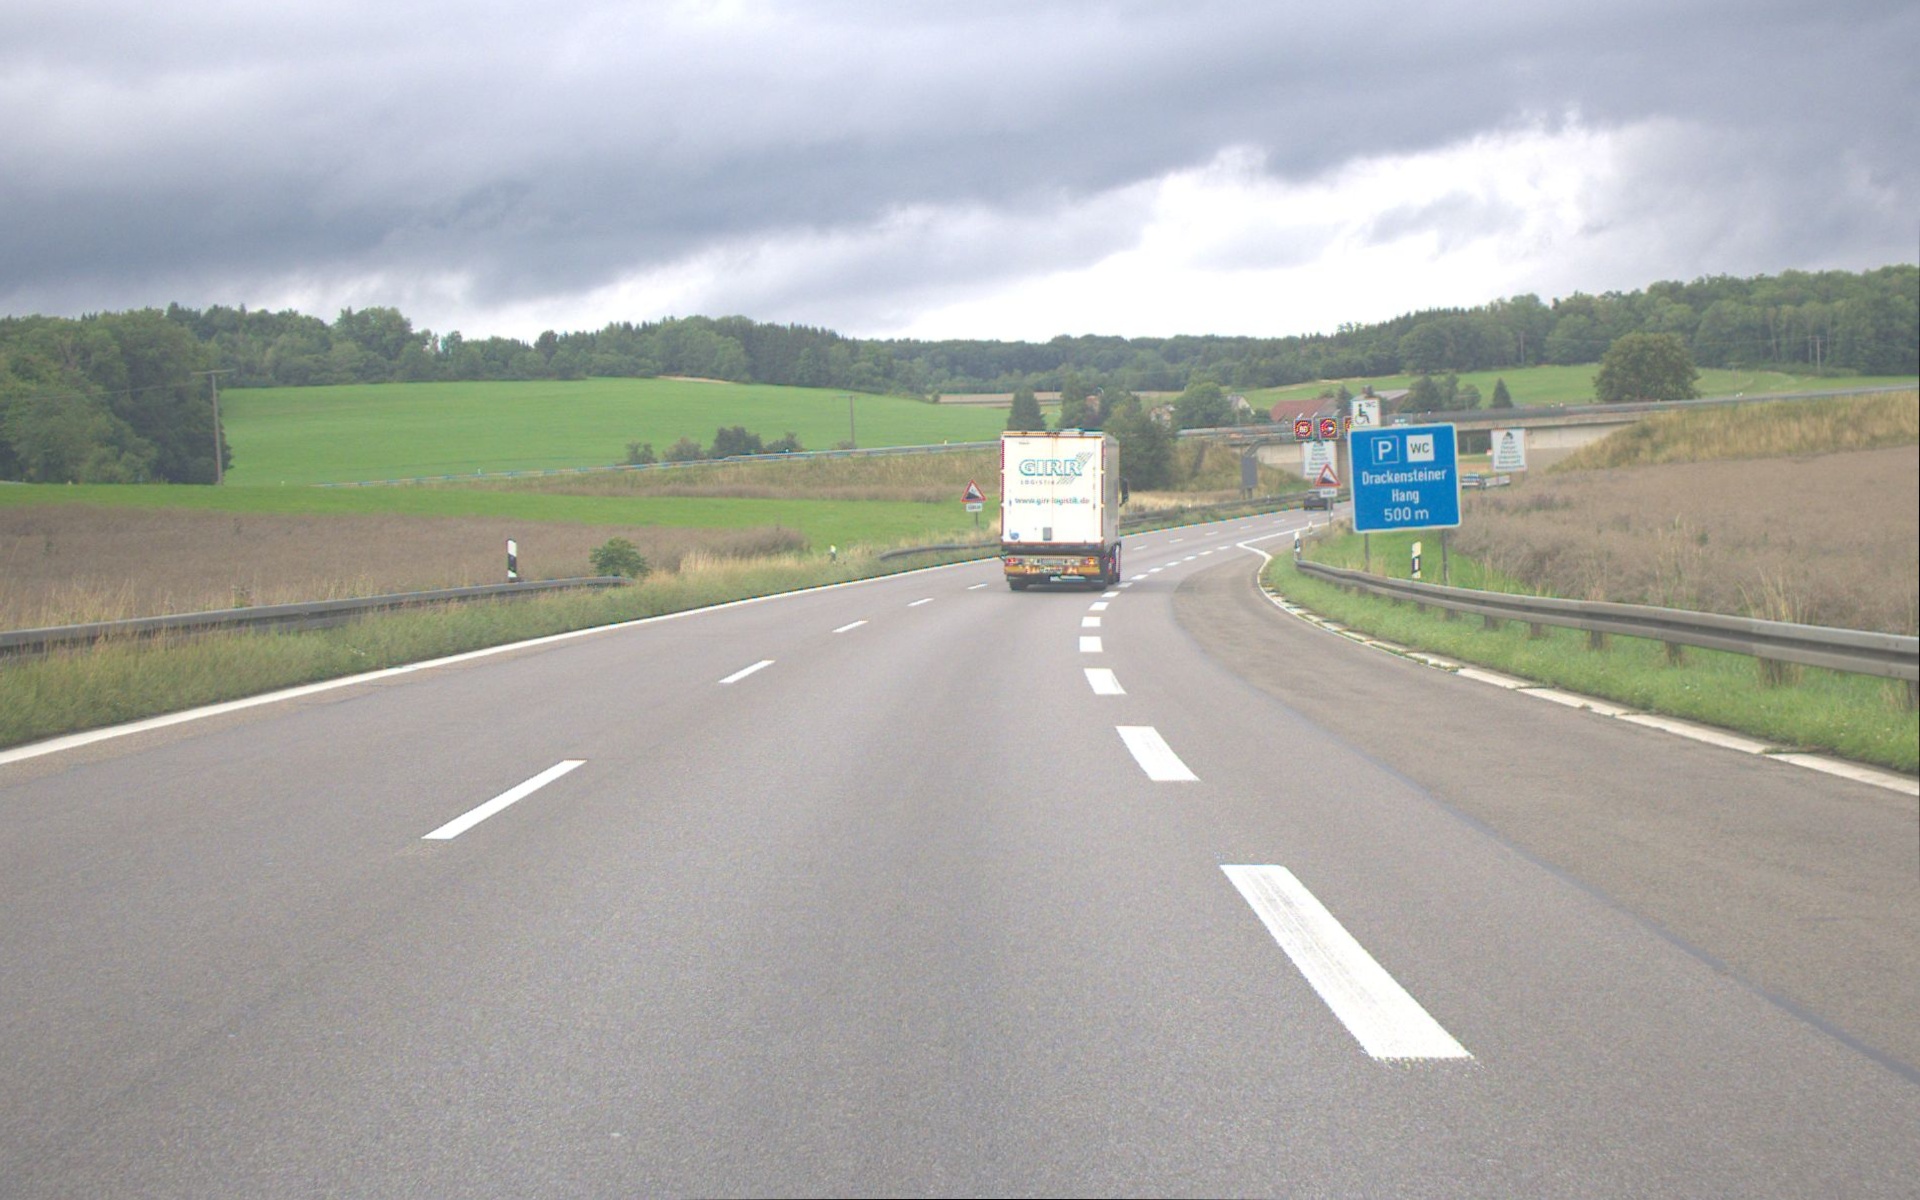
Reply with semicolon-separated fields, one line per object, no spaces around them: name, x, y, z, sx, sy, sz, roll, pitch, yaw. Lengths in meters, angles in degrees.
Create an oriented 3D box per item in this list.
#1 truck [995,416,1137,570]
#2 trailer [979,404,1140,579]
truck;3.023;-2.984;97.835;3.788;4.118;8.264;-1;1;2
trailer;2.757;-2.812;90.552;3.806;4.160;14.808;-1;1;3
